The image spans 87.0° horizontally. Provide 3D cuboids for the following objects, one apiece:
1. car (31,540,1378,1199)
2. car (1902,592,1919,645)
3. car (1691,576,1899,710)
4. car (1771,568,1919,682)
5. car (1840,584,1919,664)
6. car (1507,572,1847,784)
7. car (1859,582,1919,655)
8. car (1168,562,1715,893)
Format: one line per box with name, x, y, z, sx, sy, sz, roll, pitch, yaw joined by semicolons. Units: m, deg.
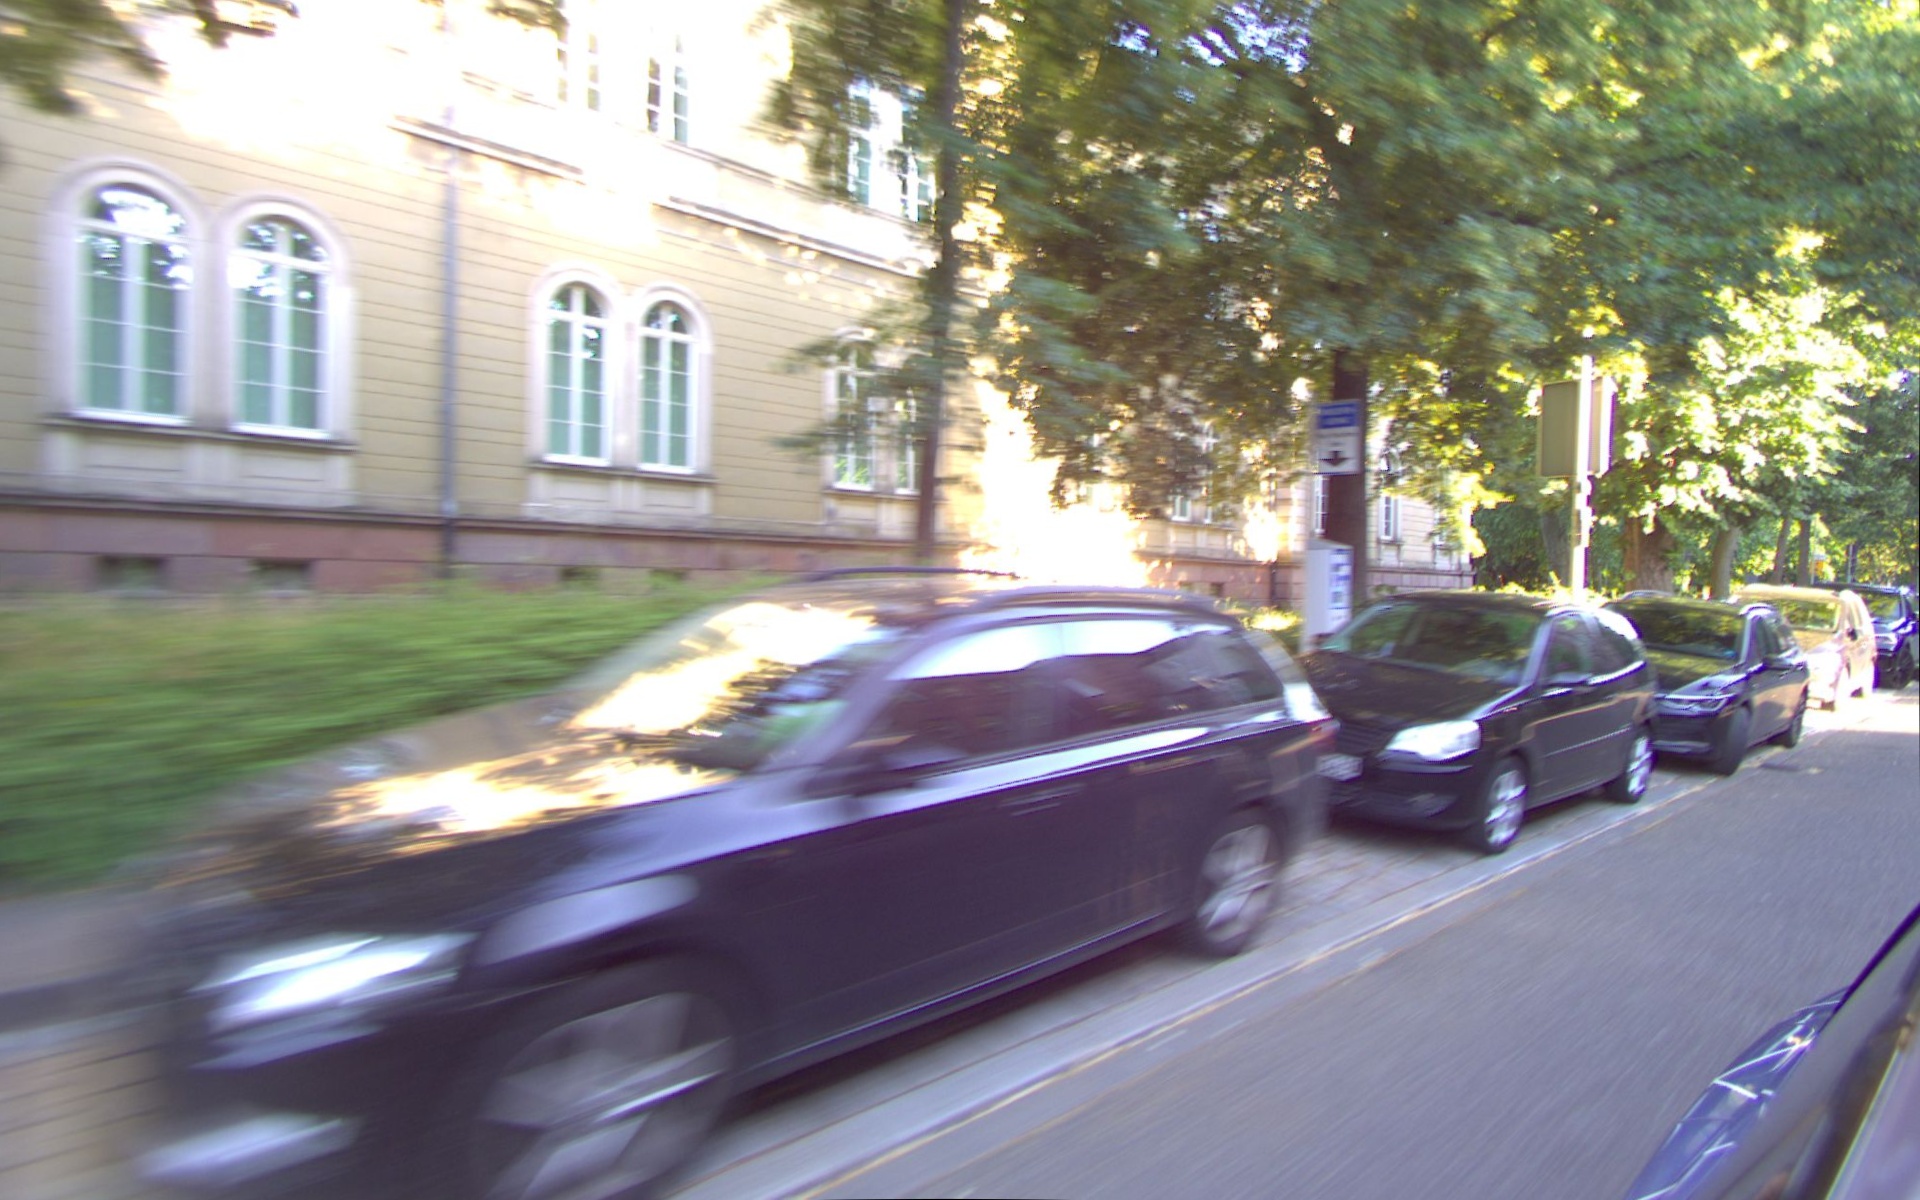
car;-0.358;0.604;3.718;4.445;1.525;1.738;-1;3;-42
car;29.227;0.530;29.953;3.934;1.456;1.726;-1;3;-44
car;12.562;0.502;15.127;4.422;1.703;1.727;-1;3;-42
car;16.842;0.347;18.736;4.858;1.835;1.809;-1;2;-39
car;21.007;0.475;22.554;3.904;1.608;1.726;-1;3;-44
car;7.370;0.568;10.209;4.544;1.551;1.728;-1;7;-42
car;24.654;0.422;25.894;4.614;1.708;1.885;-1;3;-41
car;3.493;0.597;7.019;4.114;1.551;1.729;-1;6;-39
